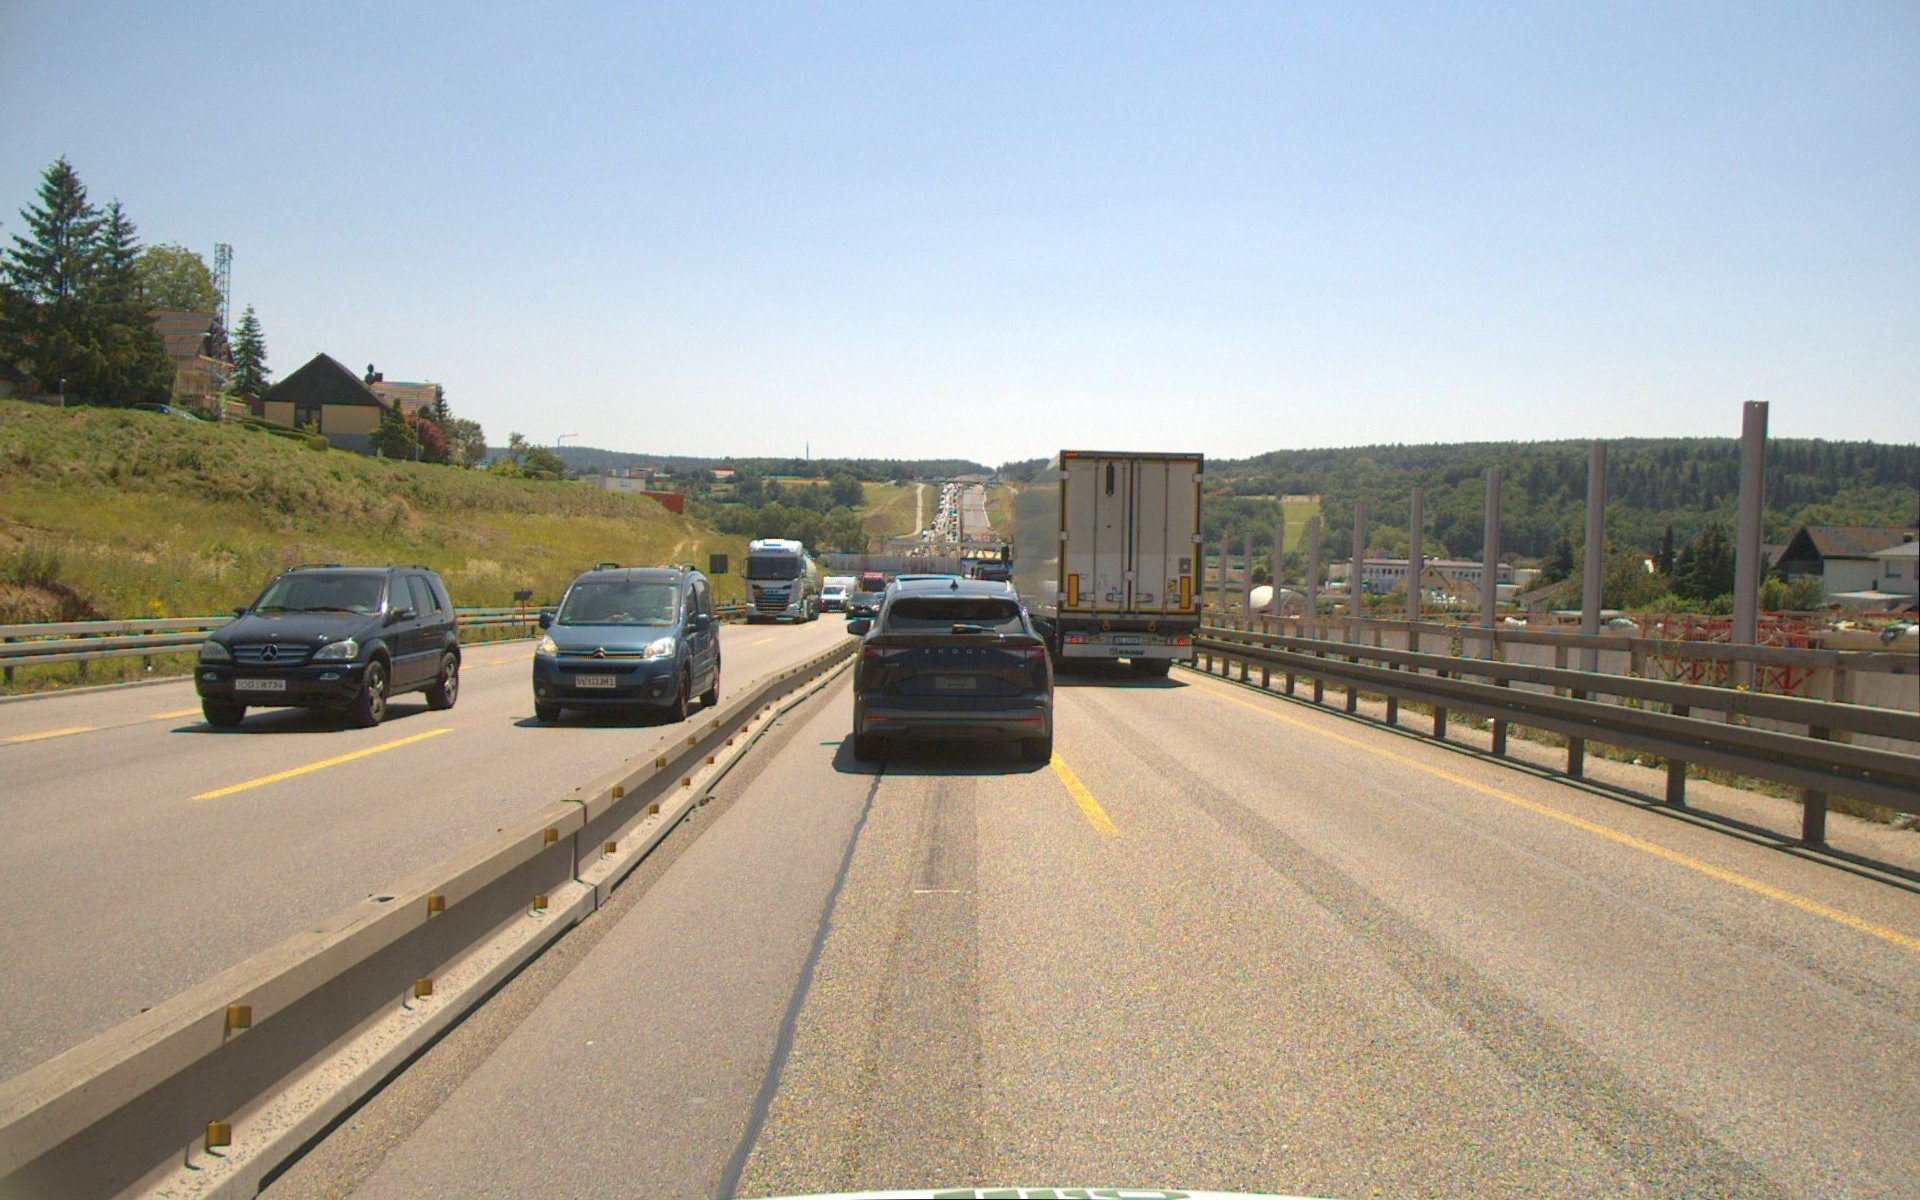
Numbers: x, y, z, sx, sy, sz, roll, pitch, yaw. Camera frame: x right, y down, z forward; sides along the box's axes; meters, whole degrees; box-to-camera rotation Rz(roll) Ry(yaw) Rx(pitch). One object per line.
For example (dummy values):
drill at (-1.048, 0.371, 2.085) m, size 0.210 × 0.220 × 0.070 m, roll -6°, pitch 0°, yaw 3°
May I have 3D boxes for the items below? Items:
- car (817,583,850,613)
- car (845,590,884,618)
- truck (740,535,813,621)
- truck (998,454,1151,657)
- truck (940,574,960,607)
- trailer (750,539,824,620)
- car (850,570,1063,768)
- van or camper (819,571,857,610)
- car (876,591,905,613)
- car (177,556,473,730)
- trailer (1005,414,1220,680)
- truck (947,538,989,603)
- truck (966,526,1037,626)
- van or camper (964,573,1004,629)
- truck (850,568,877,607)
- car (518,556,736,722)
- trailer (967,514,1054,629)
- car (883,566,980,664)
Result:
car at (-8.715, -0.153, 114.217) m, size 1.953 × 2.005 × 5.342 m, roll 1°, pitch 0°, yaw -1°
car at (-5.072, 0.194, 88.242) m, size 1.856 × 1.439 × 4.679 m, roll 0°, pitch 0°, yaw 0°
truck at (-8.314, -0.966, 75.442) m, size 2.723 × 3.737 × 6.275 m, roll 1°, pitch 0°, yaw -1°
truck at (2.705, -1.053, 41.899) m, size 3.116 × 4.592 × 8.164 m, roll 1°, pitch 0°, yaw -1°
truck at (-1.430, -1.292, 231.447) m, size 2.586 × 4.267 × 9.281 m, roll 1°, pitch -1°, yaw -1°
trailer at (-8.430, -0.979, 81.882) m, size 2.661 × 3.657 × 11.791 m, roll 1°, pitch 0°, yaw -1°
car at (-0.034, 0.594, 15.877) m, size 1.765 × 1.635 × 3.999 m, roll 1°, pitch 0°, yaw 0°
van or camper at (-8.850, -0.714, 120.811) m, size 2.309 × 2.723 × 7.856 m, roll 0°, pitch 0°, yaw -1°
car at (-4.881, 0.106, 116.491) m, size 1.873 × 1.506 × 4.636 m, roll 1°, pitch 0°, yaw -1°
car at (-7.219, 0.433, 19.332) m, size 1.791 × 1.797 × 4.496 m, roll 0°, pitch 0°, yaw -1°
trailer at (2.846, -0.985, 35.429) m, size 3.116 × 4.591 × 13.106 m, roll 1°, pitch 0°, yaw -1°
truck at (0.543, -2.151, 127.632) m, size 2.794 × 4.543 × 11.913 m, roll 1°, pitch -1°, yaw -1°
truck at (1.975, -1.064, 81.504) m, size 3.116 × 4.592 × 8.163 m, roll 1°, pitch -1°, yaw -1°
van or camper at (1.514, 0.117, 101.935) m, size 2.339 × 3.338 × 6.469 m, roll 1°, pitch -1°, yaw 1°
truck at (-11.289, -1.418, 194.591) m, size 2.794 × 4.212 × 11.913 m, roll 1°, pitch -1°, yaw -1°
car at (-3.957, 0.417, 20.461) m, size 1.808 × 1.809 × 4.881 m, roll 0°, pitch 0°, yaw -1°
trailer at (2.083, -1.042, 74.343) m, size 3.116 × 4.592 × 14.962 m, roll 1°, pitch -1°, yaw -1°
car at (-0.628, 0.346, 36.043) m, size 1.953 × 1.959 × 4.506 m, roll 1°, pitch -1°, yaw -1°
